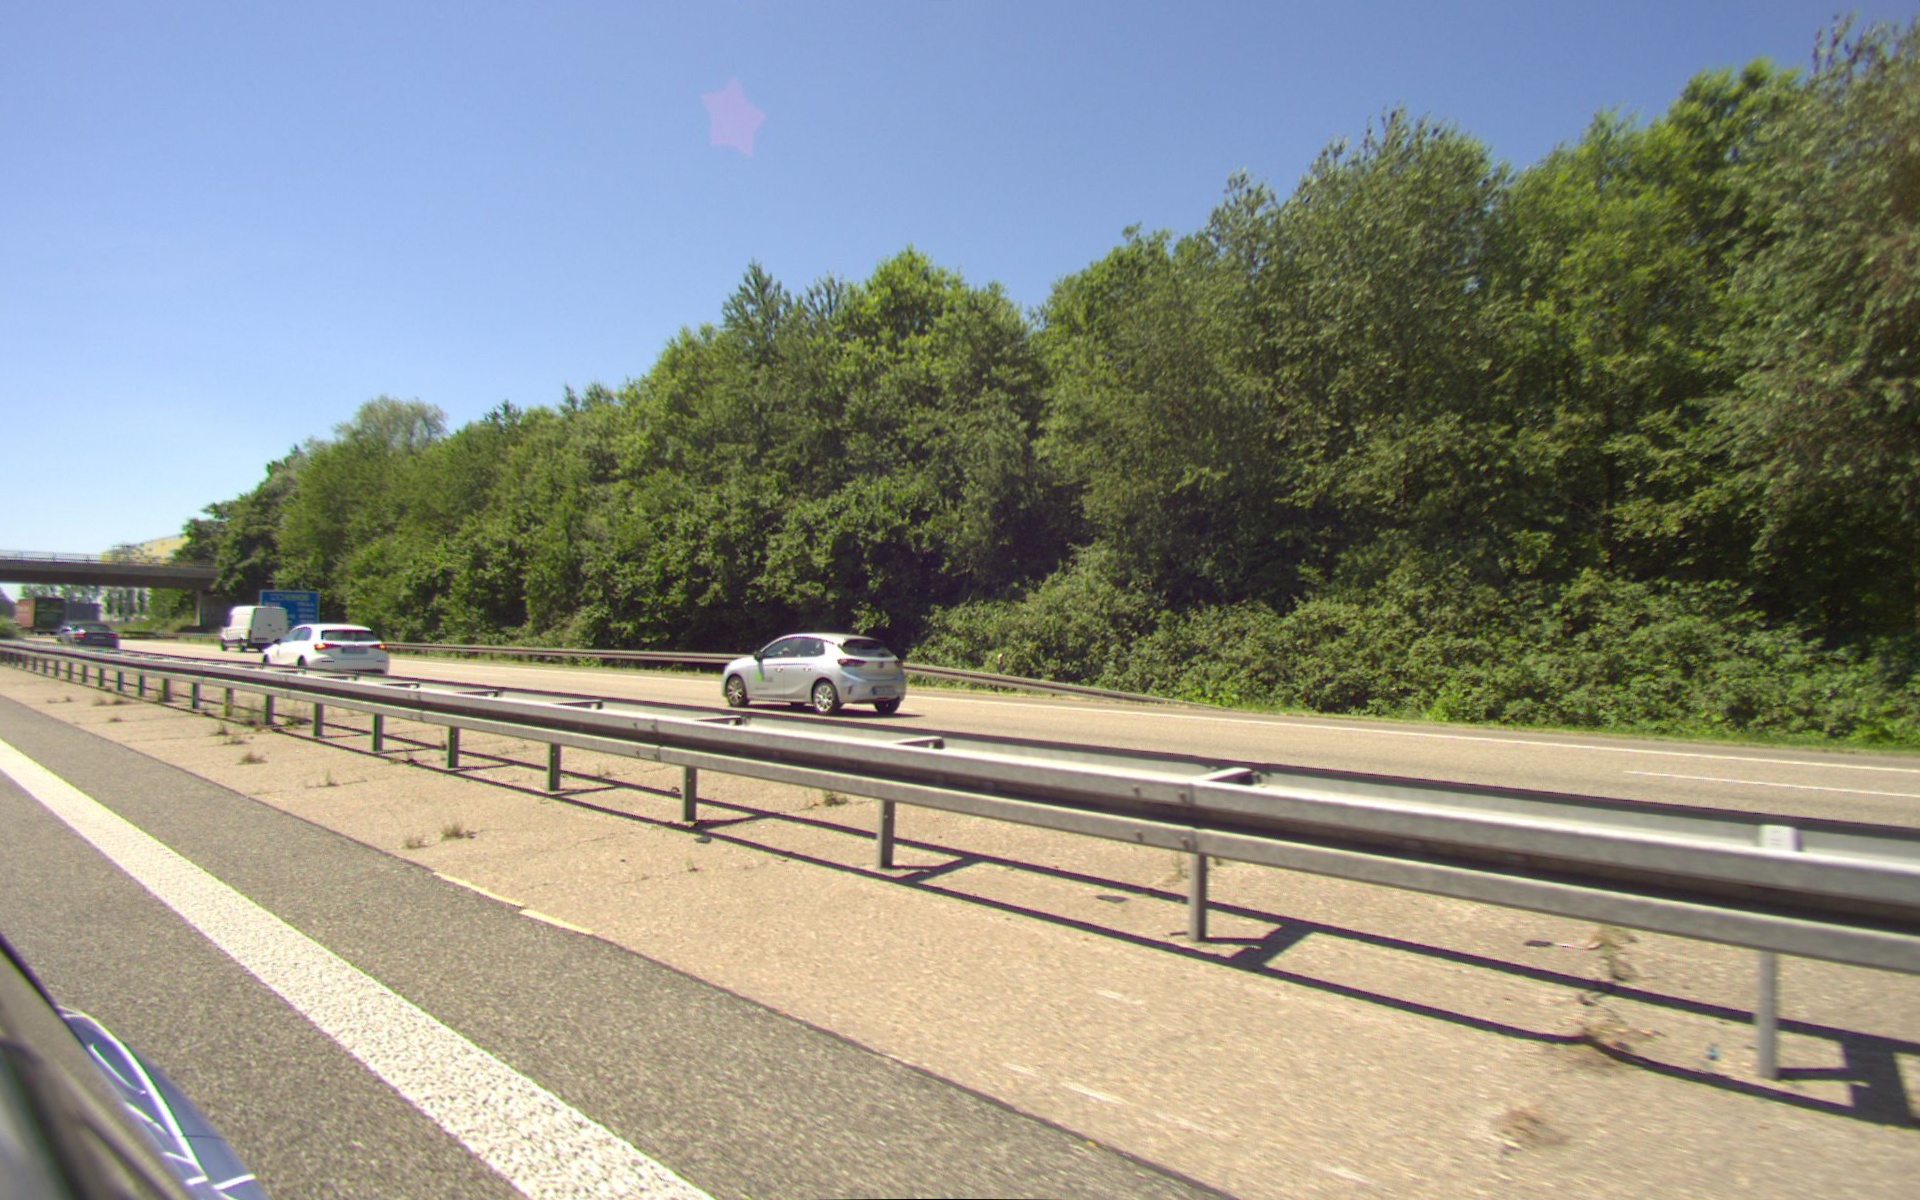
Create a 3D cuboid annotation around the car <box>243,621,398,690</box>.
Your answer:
[{"bbox_3d":[-15.704,1.302,24.750,4.819,1.535,1.801,-1,-3,40],"label":"car"}]

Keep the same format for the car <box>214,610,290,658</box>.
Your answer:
[{"bbox_3d":[-40.326,1.941,57.586,6.224,2.572,2.065,-1,-3,41],"label":"car"}]

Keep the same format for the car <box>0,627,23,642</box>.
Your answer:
[{"bbox_3d":[-94.518,3.402,100.291,4.868,1.461,1.829,-1,-3,40],"label":"car"}]

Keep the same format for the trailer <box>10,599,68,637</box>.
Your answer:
[{"bbox_3d":[-103.331,2.060,113.435,12.734,4.090,3.183,-1,-3,41],"label":"trailer"}]

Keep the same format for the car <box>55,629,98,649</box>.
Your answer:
[{"bbox_3d":[-65.103,2.849,74.576,4.703,1.413,1.651,-1,-3,40],"label":"car"}]

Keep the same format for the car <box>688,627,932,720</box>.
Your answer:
[{"bbox_3d":[-2.911,1.278,18.991,4.819,1.535,1.801,-1,-3,40],"label":"car"}]

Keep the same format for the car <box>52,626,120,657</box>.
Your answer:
[{"bbox_3d":[-41.986,1.976,48.591,4.425,1.393,1.819,-1,-3,41],"label":"car"}]
